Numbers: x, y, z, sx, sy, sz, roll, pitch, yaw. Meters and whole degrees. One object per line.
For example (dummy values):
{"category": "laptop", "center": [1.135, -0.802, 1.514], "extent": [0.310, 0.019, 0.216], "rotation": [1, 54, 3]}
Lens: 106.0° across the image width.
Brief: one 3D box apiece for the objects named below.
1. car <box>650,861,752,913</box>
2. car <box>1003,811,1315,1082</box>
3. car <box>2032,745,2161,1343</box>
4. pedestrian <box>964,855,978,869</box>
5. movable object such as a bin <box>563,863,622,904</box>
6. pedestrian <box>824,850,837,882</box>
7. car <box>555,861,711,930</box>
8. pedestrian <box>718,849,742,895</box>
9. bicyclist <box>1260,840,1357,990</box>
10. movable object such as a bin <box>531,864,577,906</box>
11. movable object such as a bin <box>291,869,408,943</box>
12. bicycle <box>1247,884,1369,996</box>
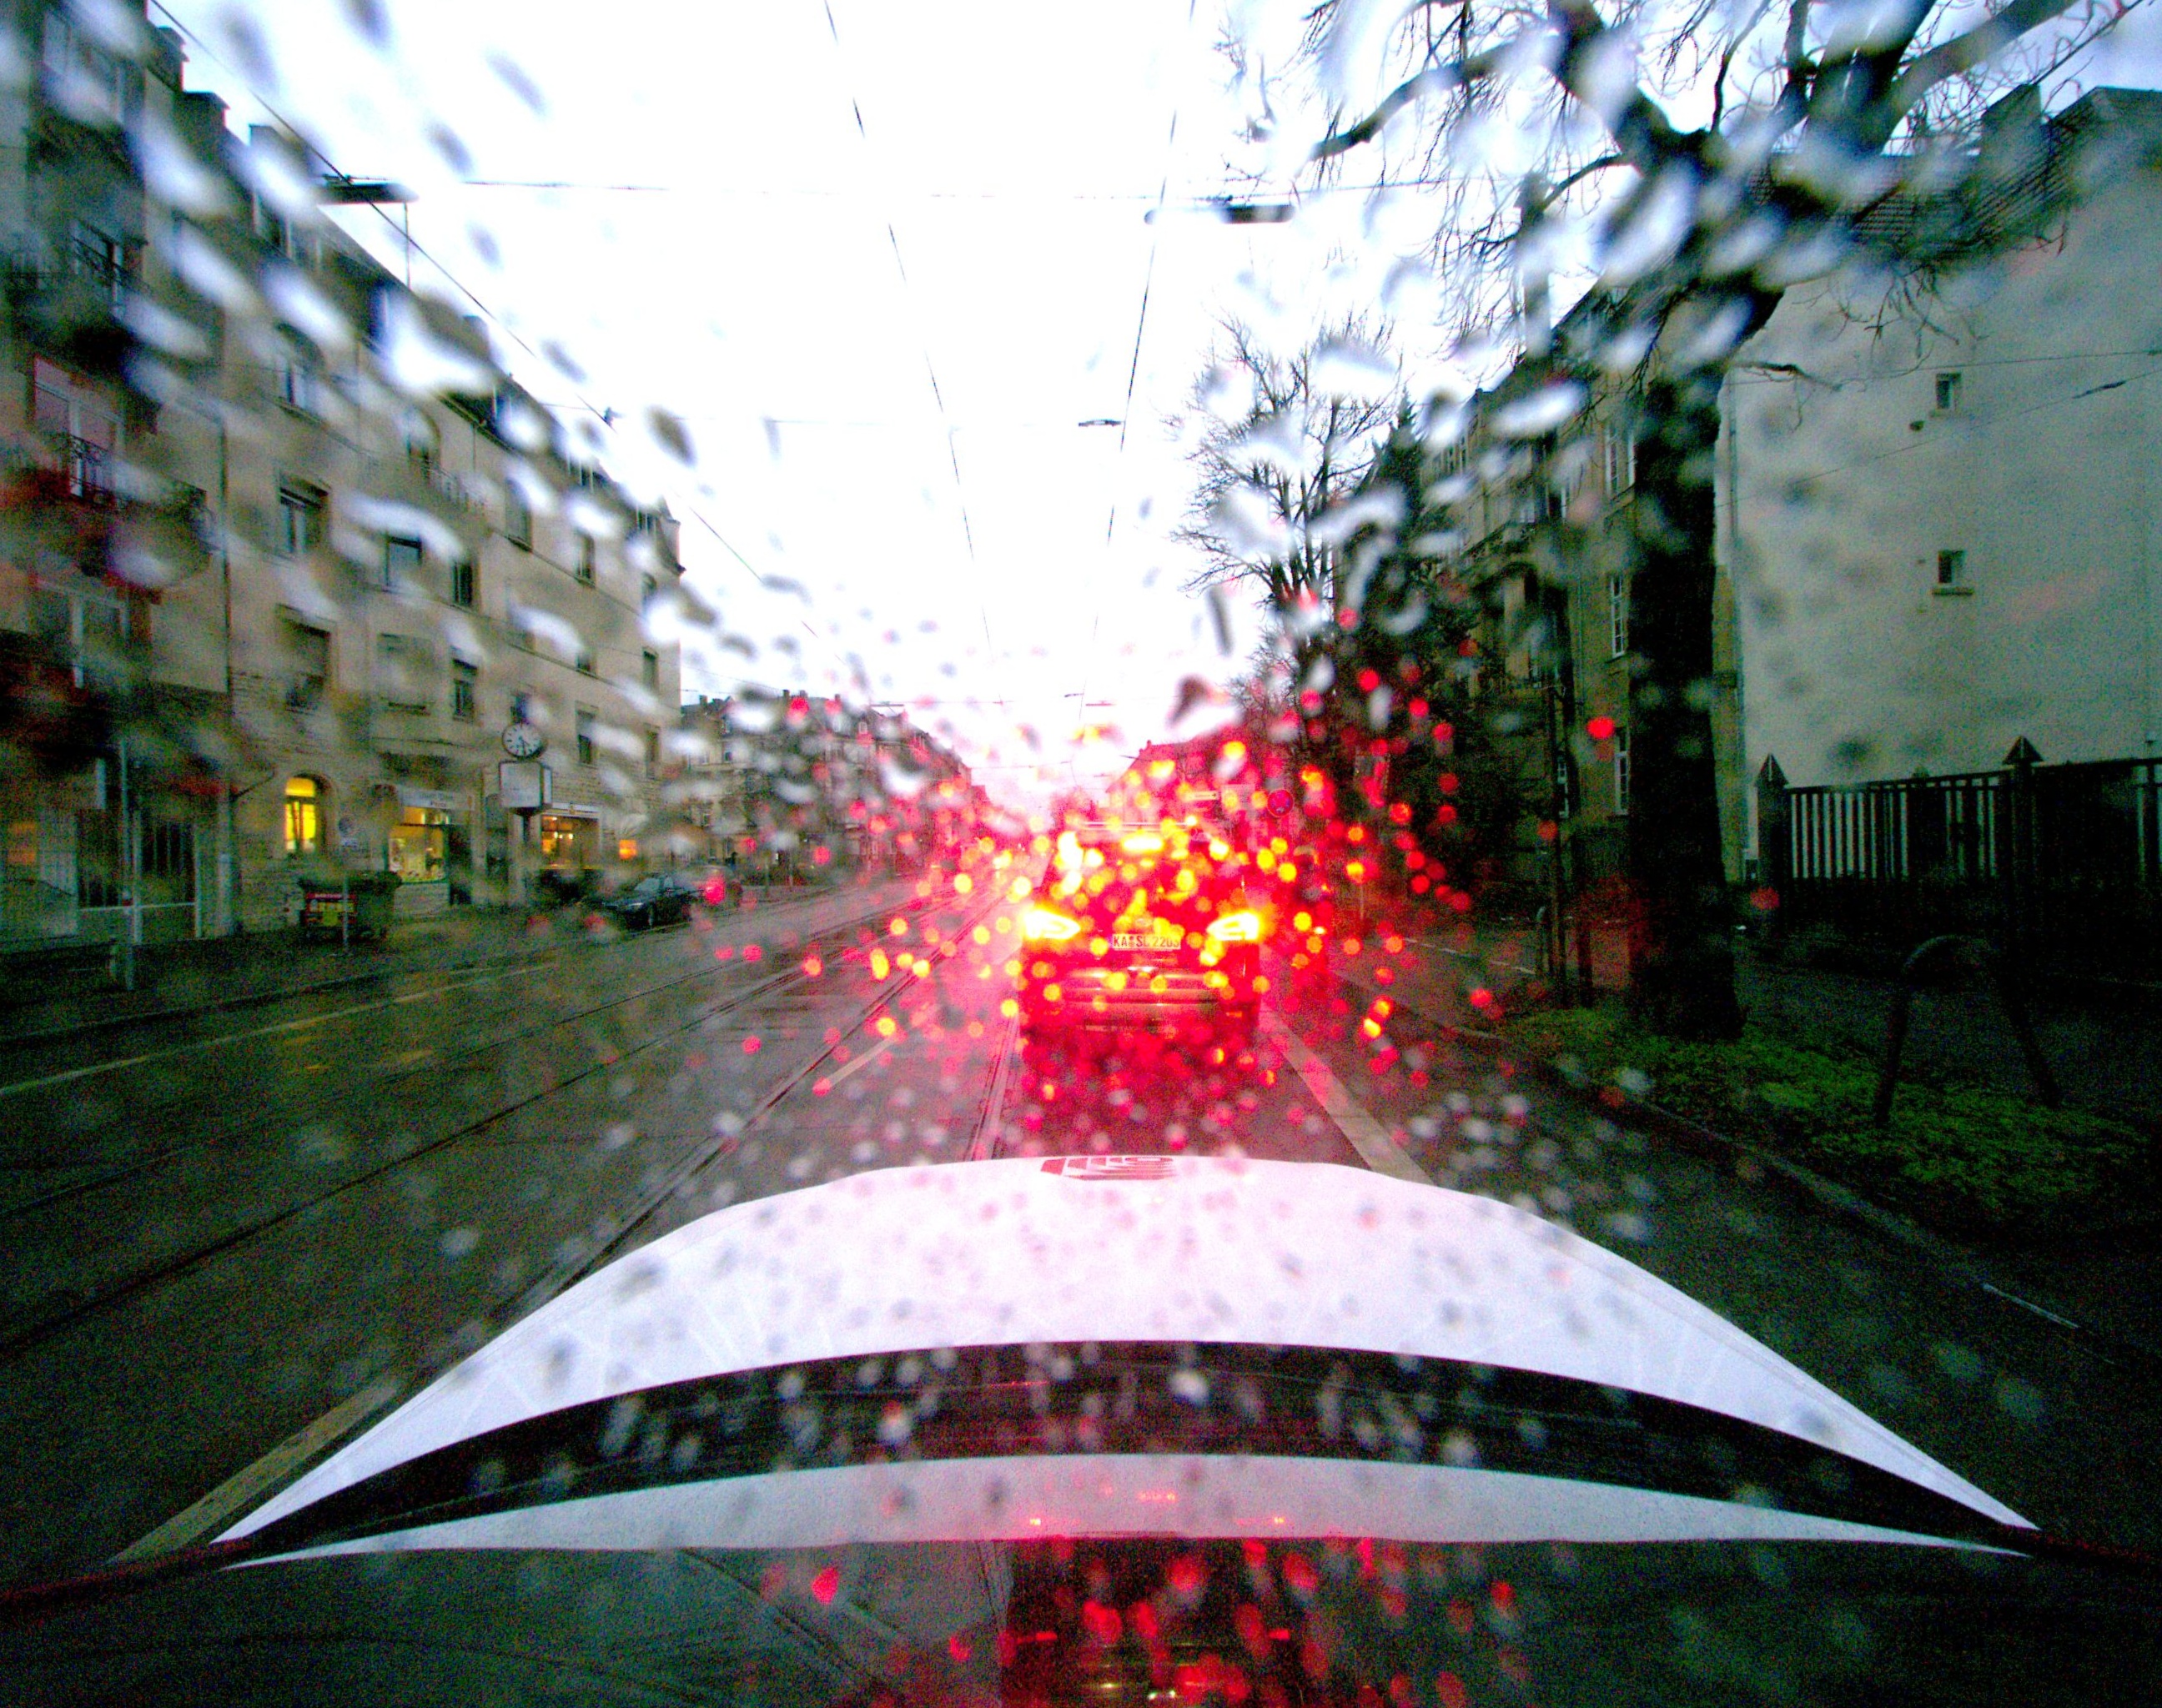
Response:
{"category": "car", "center": [-13.265, 1.104, 28.712], "extent": [2.035, 1.551, 4.022], "rotation": [2, 0, -7]}
{"category": "car", "center": [0.549, 0.619, 7.837], "extent": [2.096, 1.816, 4.660], "rotation": [0, 0, 0]}
{"category": "car", "center": [4.445, 0.571, 0.416], "extent": [2.025, 1.875, 4.960], "rotation": [-2, 0, -2]}
{"category": "pedestrian", "center": [-9.263, 0.667, 68.779], "extent": [1.044, 1.200, 0.884], "rotation": [-1, -1, -1]}
{"category": "movable object such as a bin", "center": [-17.232, 1.014, 28.763], "extent": [1.290, 1.367, 1.251], "rotation": [-1, 0, -2]}
{"category": "pedestrian", "center": [-15.678, 0.748, 50.885], "extent": [0.707, 2.013, 0.656], "rotation": [-1, 0, -21]}
{"category": "car", "center": [-12.398, 1.074, 22.952], "extent": [1.982, 1.645, 4.624], "rotation": [3, -1, -4]}
{"category": "pedestrian", "center": [-15.525, 0.802, 36.049], "extent": [0.748, 2.014, 0.652], "rotation": [-1, -1, 34]}
{"category": "bicyclist", "center": [2.684, 0.692, 9.709], "extent": [0.716, 1.662, 1.054], "rotation": [2, 0, -6]}
{"category": "movable object such as a bin", "center": [-17.768, 1.029, 27.470], "extent": [0.896, 1.377, 1.006], "rotation": [-1, 0, -2]}
{"category": "movable object such as a bin", "center": [-15.034, 1.040, 16.785], "extent": [1.264, 1.420, 1.249], "rotation": [-1, 0, -1]}
{"category": "bicycle", "center": [2.664, 0.972, 9.793], "extent": [0.716, 1.112, 1.937], "rotation": [3, 0, -6]}
